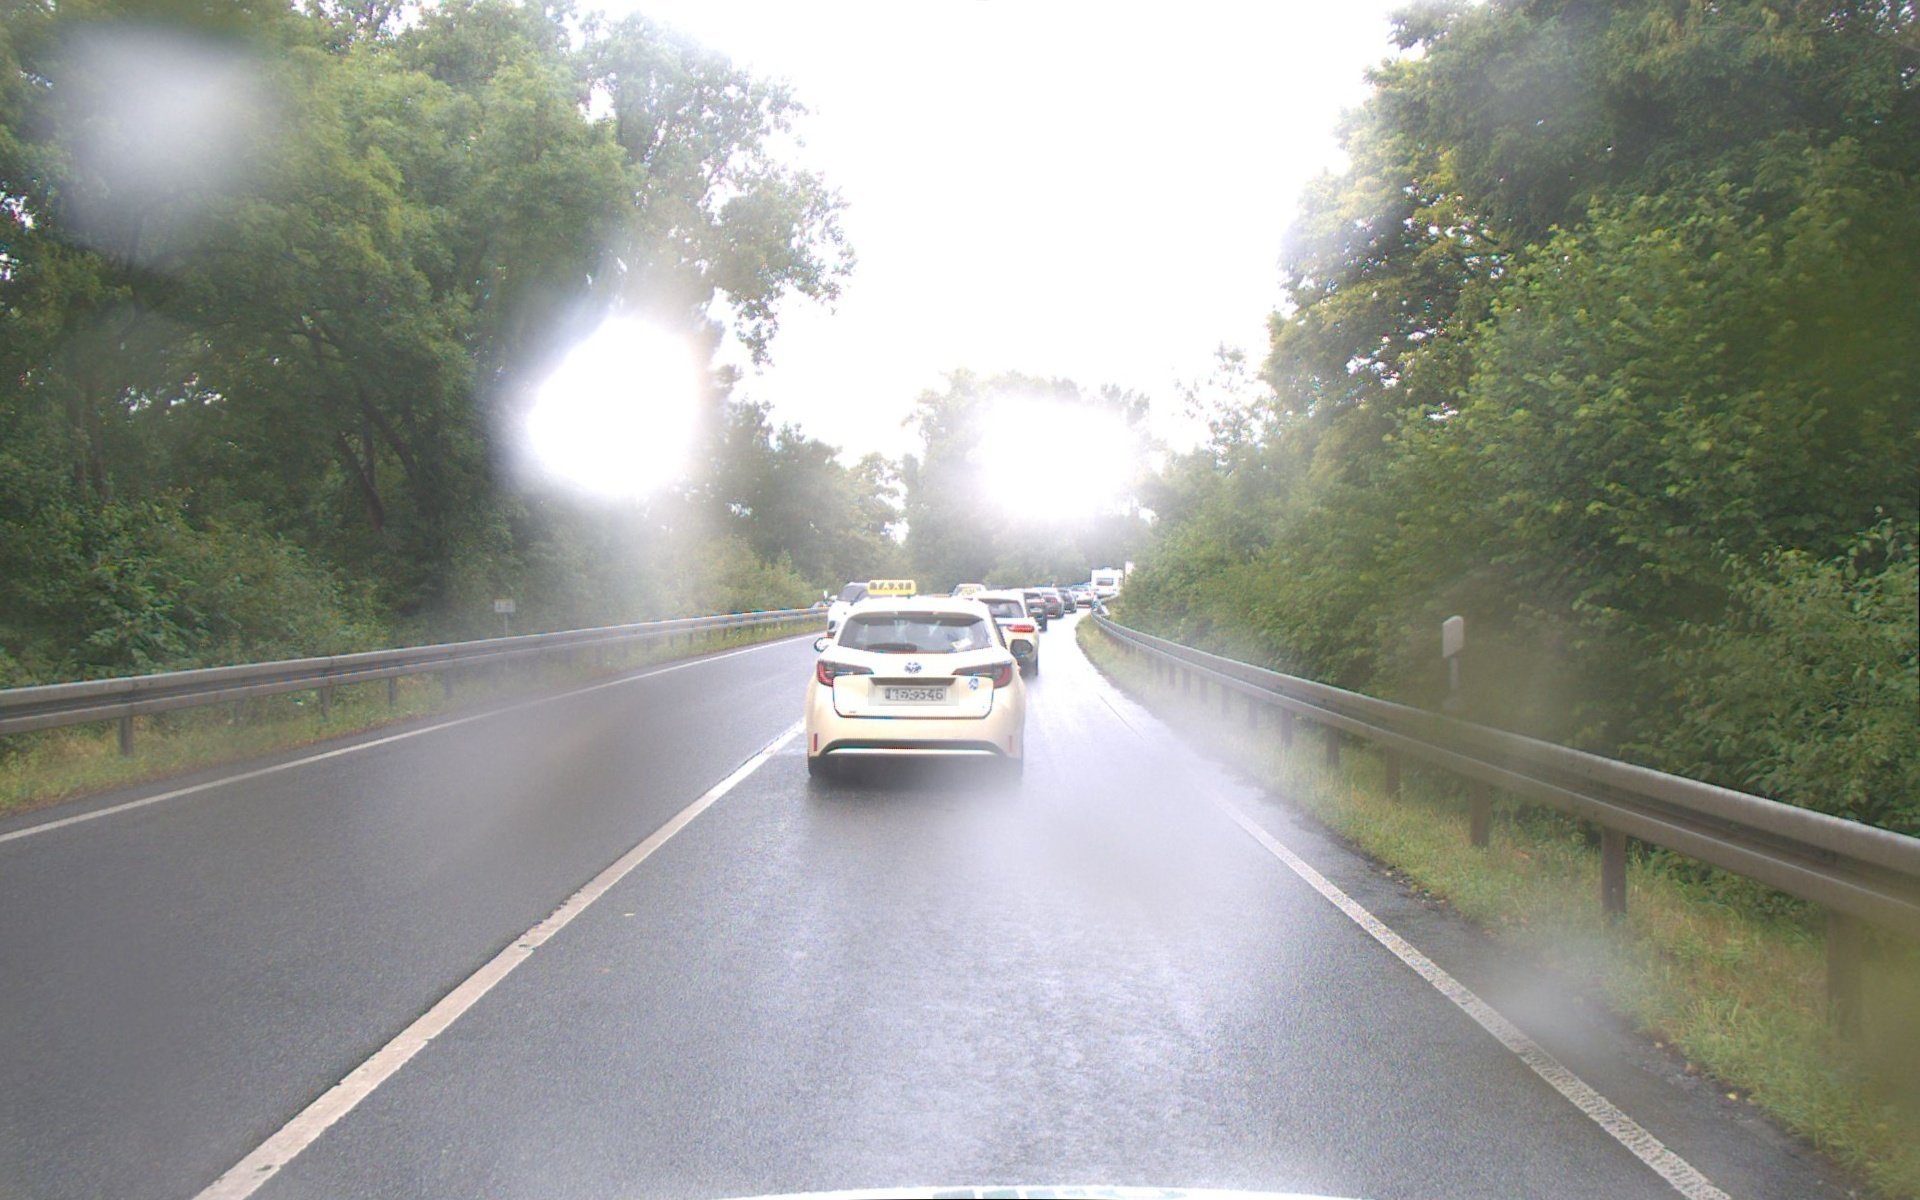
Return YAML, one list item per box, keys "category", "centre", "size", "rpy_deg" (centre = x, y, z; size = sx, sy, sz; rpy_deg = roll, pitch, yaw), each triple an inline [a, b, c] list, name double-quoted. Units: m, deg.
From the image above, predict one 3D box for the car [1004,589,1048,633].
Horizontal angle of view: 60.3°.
- category: "car"
  centre: [2.427, 0.450, 61.491]
  size: [1.578, 1.574, 3.814]
  rpy_deg: [0, -1, 2]

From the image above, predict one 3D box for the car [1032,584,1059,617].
- category: "car"
  centre: [4.187, 0.061, 80.983]
  size: [1.142, 1.574, 2.606]
  rpy_deg: [1, -1, 7]

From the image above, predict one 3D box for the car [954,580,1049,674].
- category: "car"
  centre: [0.754, 0.487, 30.539]
  size: [1.633, 1.608, 3.892]
  rpy_deg: [1, -1, 1]

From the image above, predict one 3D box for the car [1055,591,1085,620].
- category: "car"
  centre: [6.346, 0.323, 95.174]
  size: [1.582, 1.641, 3.624]
  rpy_deg: [1, -1, 6]

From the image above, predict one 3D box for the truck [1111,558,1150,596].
- category: "truck"
  centre: [17.577, -2.344, 169.878]
  size: [3.041, 3.745, 7.005]
  rpy_deg: [1, -1, 13]

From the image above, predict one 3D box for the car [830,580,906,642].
- category: "car"
  centre: [-2.424, 0.267, 44.390]
  size: [1.769, 1.559, 4.206]
  rpy_deg: [0, 0, 0]

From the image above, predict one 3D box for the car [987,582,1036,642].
- category: "car"
  centre: [1.391, 0.333, 45.474]
  size: [1.274, 1.574, 3.260]
  rpy_deg: [1, -1, 1]

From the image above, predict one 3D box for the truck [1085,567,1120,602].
- category: "truck"
  centre: [12.068, -1.259, 140.458]
  size: [2.496, 2.760, 7.537]
  rpy_deg: [1, -1, 2]

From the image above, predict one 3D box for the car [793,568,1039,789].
- category: "car"
  centre: [-0.305, 0.597, 14.294]
  size: [1.796, 1.608, 4.156]
  rpy_deg: [1, -1, 0]

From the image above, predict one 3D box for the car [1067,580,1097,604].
- category: "car"
  centre: [8.440, -0.536, 114.197]
  size: [1.732, 1.574, 3.817]
  rpy_deg: [1, -1, 9]
